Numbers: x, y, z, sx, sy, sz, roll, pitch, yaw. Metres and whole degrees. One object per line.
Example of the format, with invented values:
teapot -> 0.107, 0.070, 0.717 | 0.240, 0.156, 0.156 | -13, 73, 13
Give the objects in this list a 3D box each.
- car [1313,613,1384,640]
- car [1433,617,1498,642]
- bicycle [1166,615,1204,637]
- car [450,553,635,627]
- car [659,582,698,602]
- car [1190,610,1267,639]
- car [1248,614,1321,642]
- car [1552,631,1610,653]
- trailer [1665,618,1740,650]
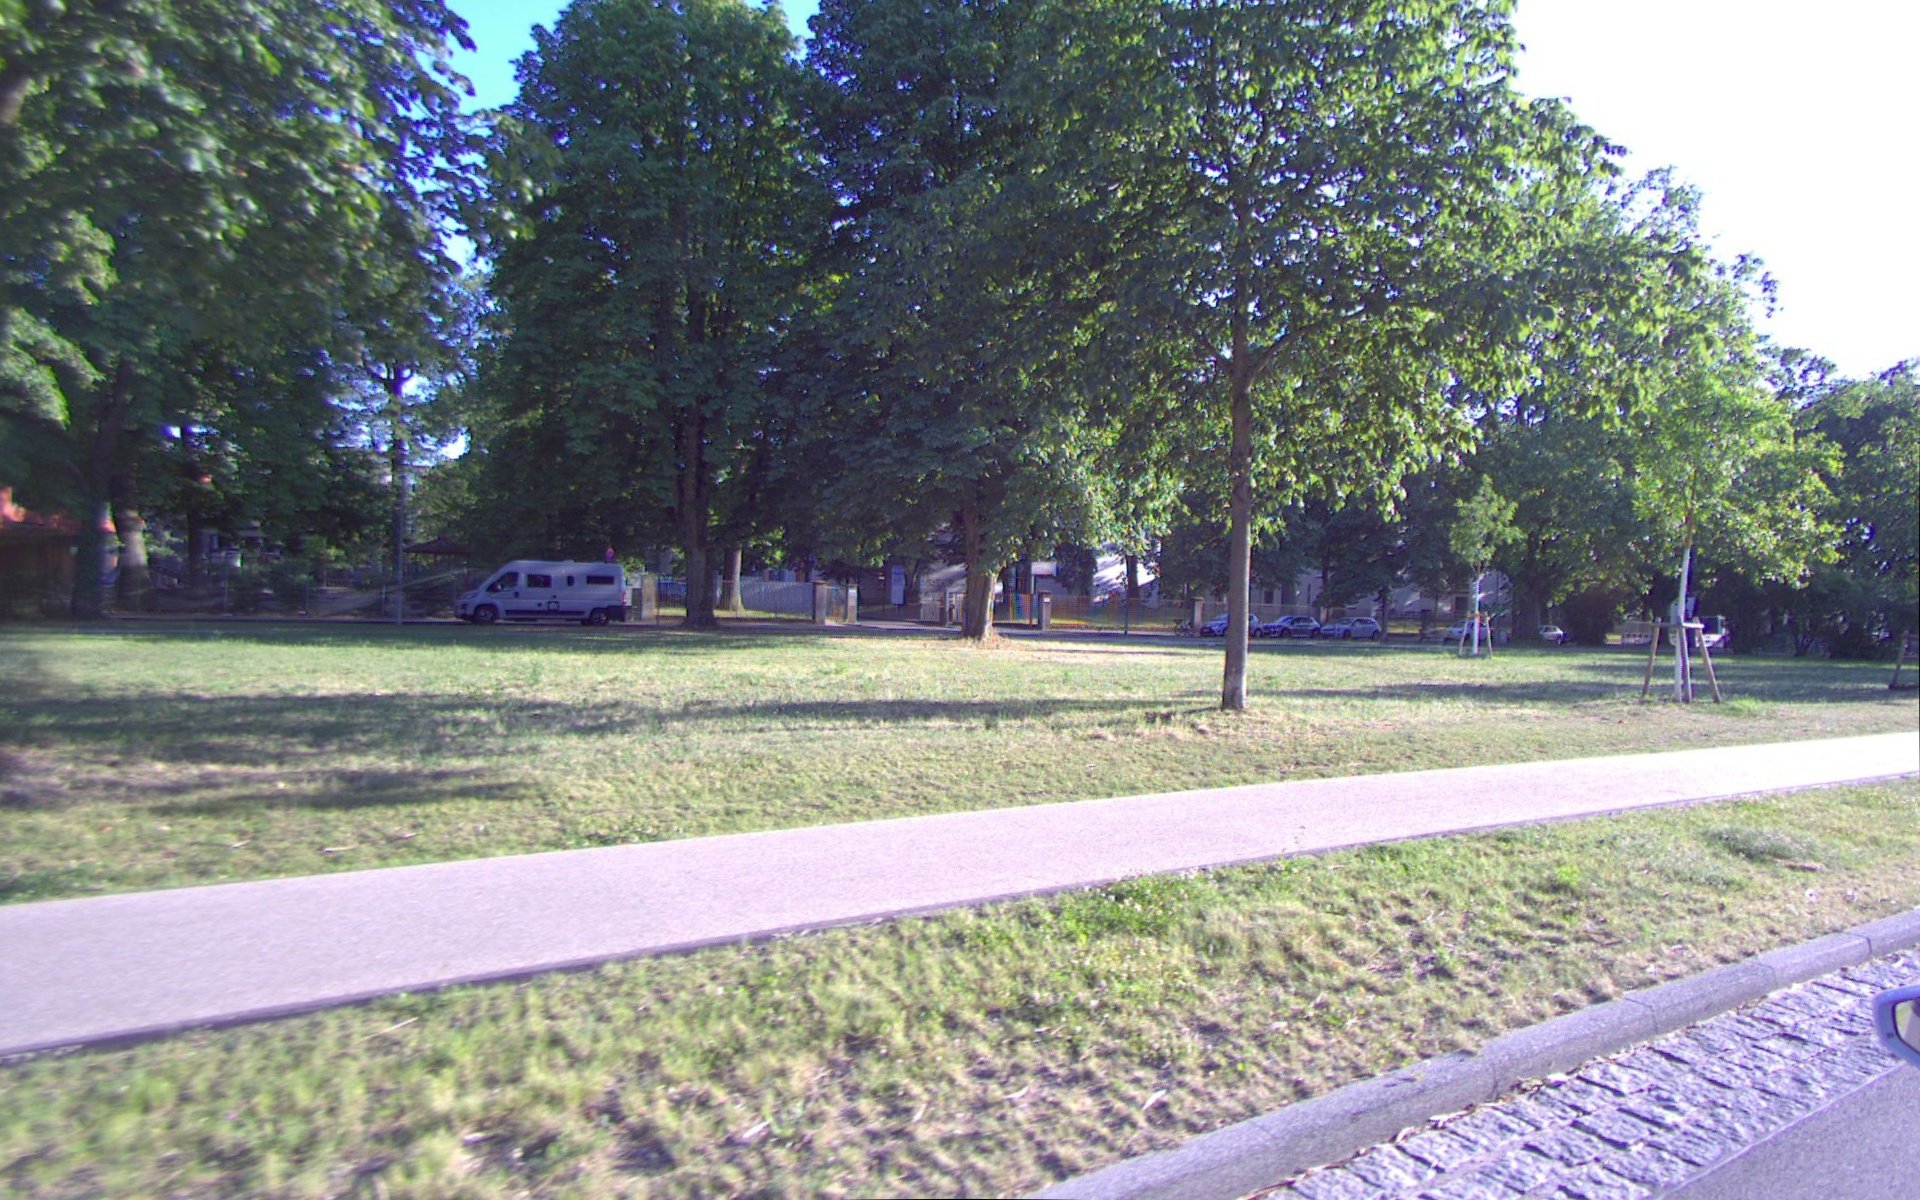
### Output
car -> 24.026, 1.630, 62.140 | 4.066, 1.528, 1.985 | 3, -1, -29
car -> 34.297, 2.009, 68.175 | 4.066, 1.528, 1.985 | 3, -1, -29
bicycle -> 12.961, 1.476, 57.773 | 2.309, 1.191, 0.653 | 3, -1, -33
car -> -16.070, -0.319, 38.773 | 6.248, 2.496, 2.706 | 3, -1, -32
car -> -31.721, -0.901, 113.360 | 1.603, 2.085, 4.241 | 2, -1, 30
car -> 15.309, 1.393, 57.252 | 3.952, 1.528, 1.985 | 3, -1, -29
car -> 19.233, 1.654, 59.496 | 3.952, 1.528, 1.985 | 3, -1, -29
car -> 46.835, 3.148, 75.709 | 4.066, 1.528, 1.985 | 3, -1, -29
trailer -> 62.794, 2.876, 84.952 | 6.965, 2.522, 2.448 | 3, -1, -29
